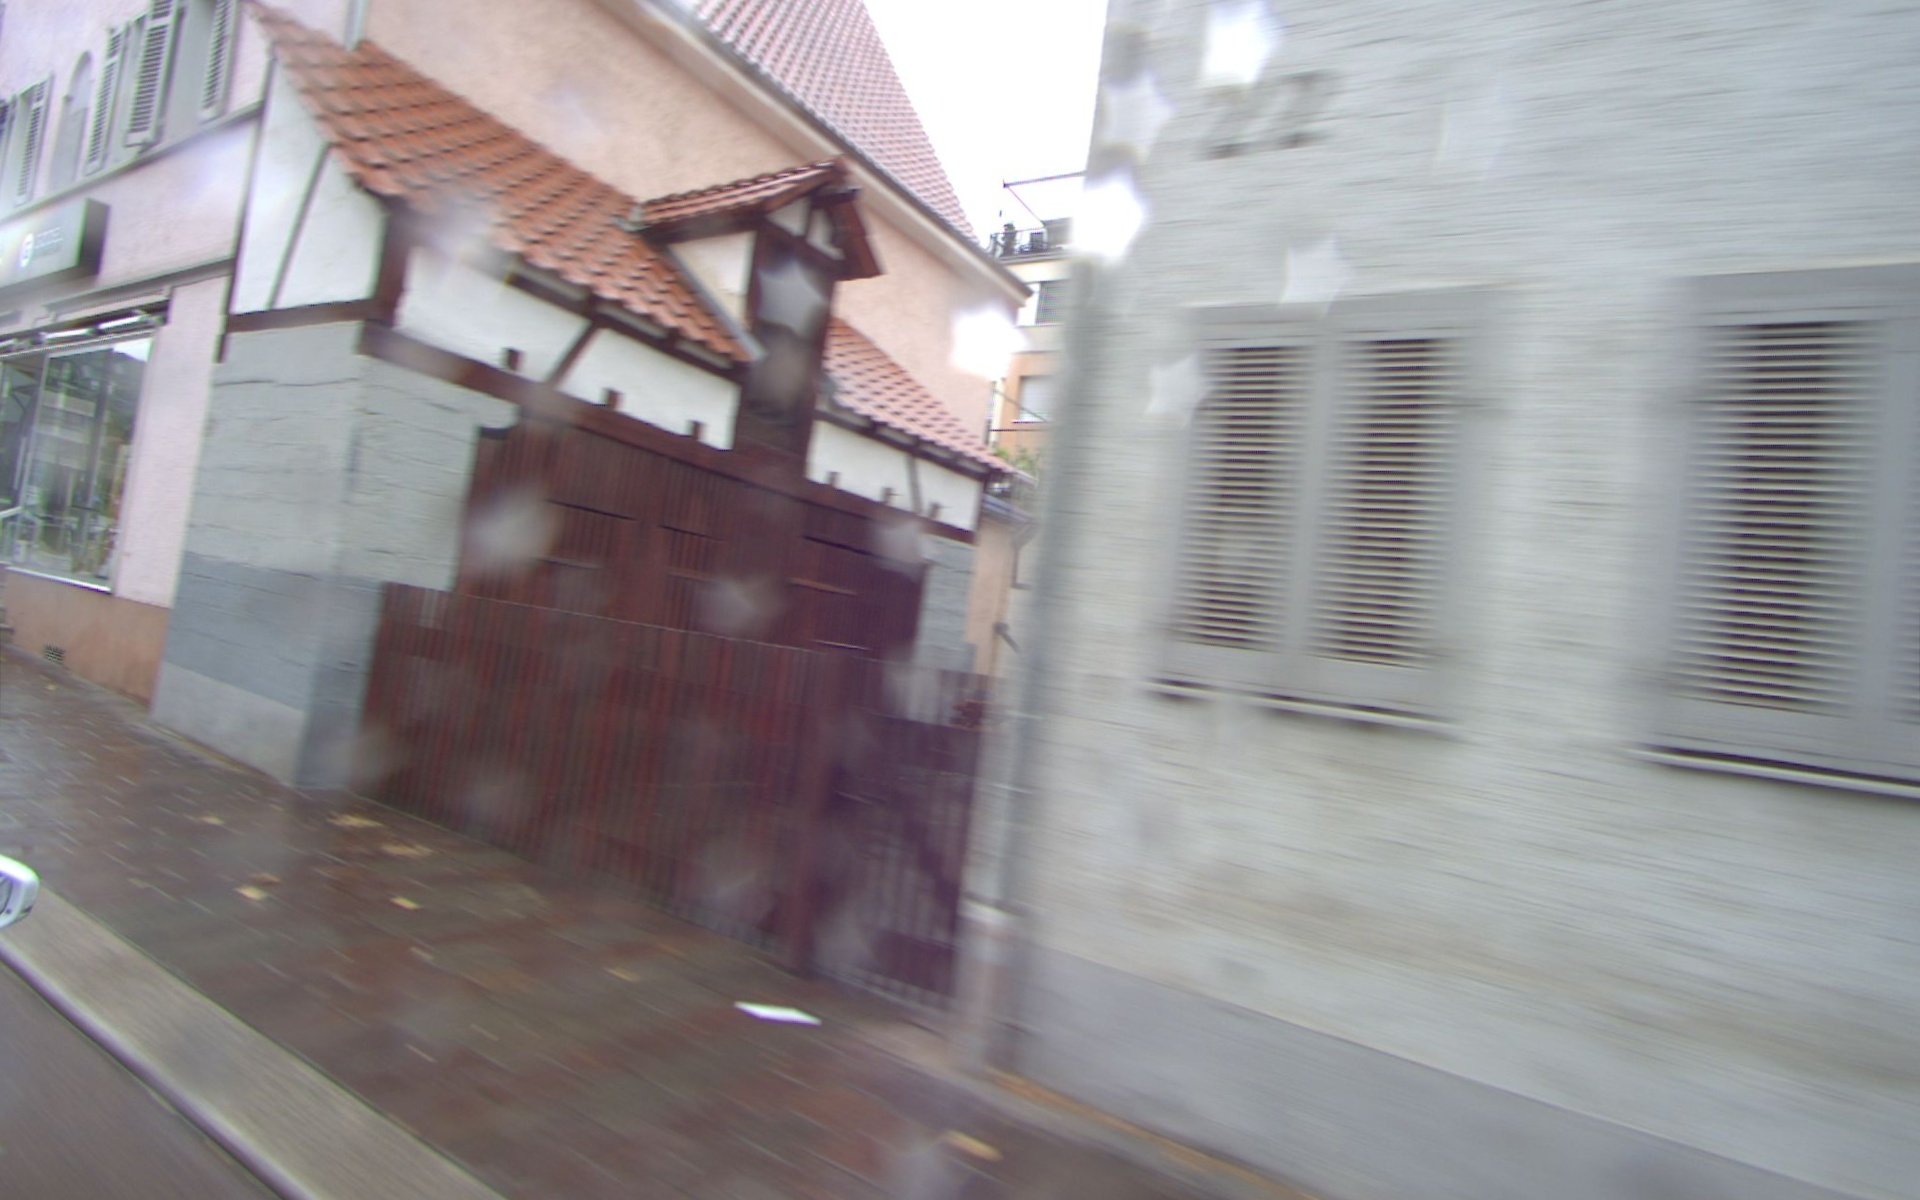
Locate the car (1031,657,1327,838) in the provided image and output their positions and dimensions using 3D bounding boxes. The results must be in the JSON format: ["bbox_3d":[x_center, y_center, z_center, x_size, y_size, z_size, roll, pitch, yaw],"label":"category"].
[{"bbox_3d":[2.765,1.749,11.929,1.969,1.567,3.997,5,-6,35],"label":"car"}]
